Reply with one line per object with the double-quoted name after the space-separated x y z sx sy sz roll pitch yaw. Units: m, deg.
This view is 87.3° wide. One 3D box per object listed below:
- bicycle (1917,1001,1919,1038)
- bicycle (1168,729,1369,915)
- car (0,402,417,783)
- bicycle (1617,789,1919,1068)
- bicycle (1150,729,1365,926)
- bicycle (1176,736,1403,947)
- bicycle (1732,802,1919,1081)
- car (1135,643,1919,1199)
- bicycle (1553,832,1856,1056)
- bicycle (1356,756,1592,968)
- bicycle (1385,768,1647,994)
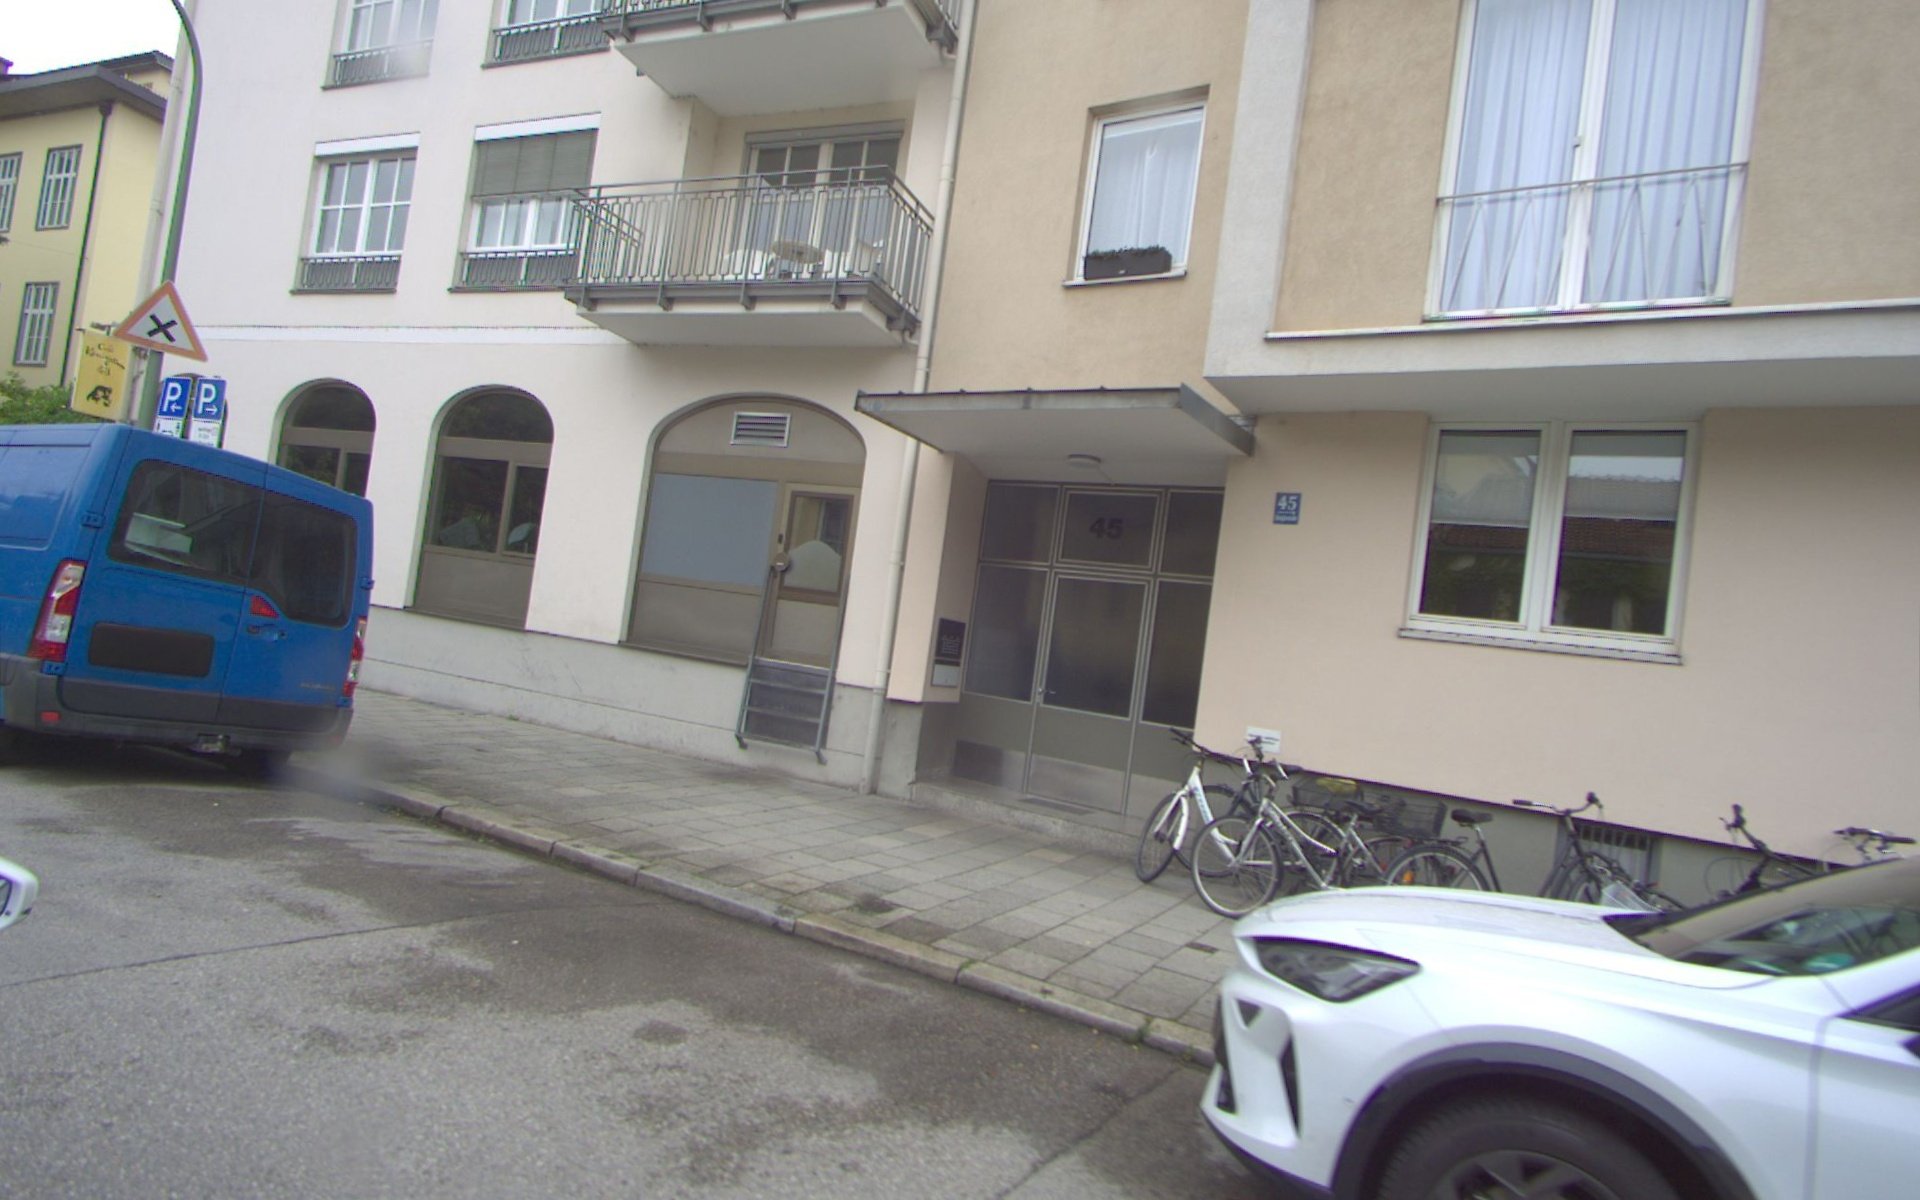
5.964 1.915 5.175 1.373 1.217 0.446 6 1 38 "bicycle"
2.335 1.651 7.687 1.325 1.115 0.369 6 1 33 "bicycle"
-7.075 -0.072 7.935 4.940 2.233 2.121 5 -8 26 "car"
4.842 1.890 6.040 1.373 1.217 0.446 6 1 38 "bicycle"
2.145 1.607 7.332 1.365 1.115 0.369 6 1 33 "bicycle"
2.214 1.584 6.799 1.323 1.115 0.392 6 1 26 "bicycle"
4.909 1.812 5.278 1.264 1.217 0.412 6 1 38 "bicycle"
2.816 1.268 2.519 4.227 1.537 1.785 7 -6 26 "car"
4.006 1.841 5.486 1.175 0.905 0.448 5 1 11 "bicycle"
3.515 1.754 6.926 1.325 1.115 0.369 6 1 33 "bicycle"
3.423 1.713 6.276 1.277 1.115 0.395 5 1 15 "bicycle"
